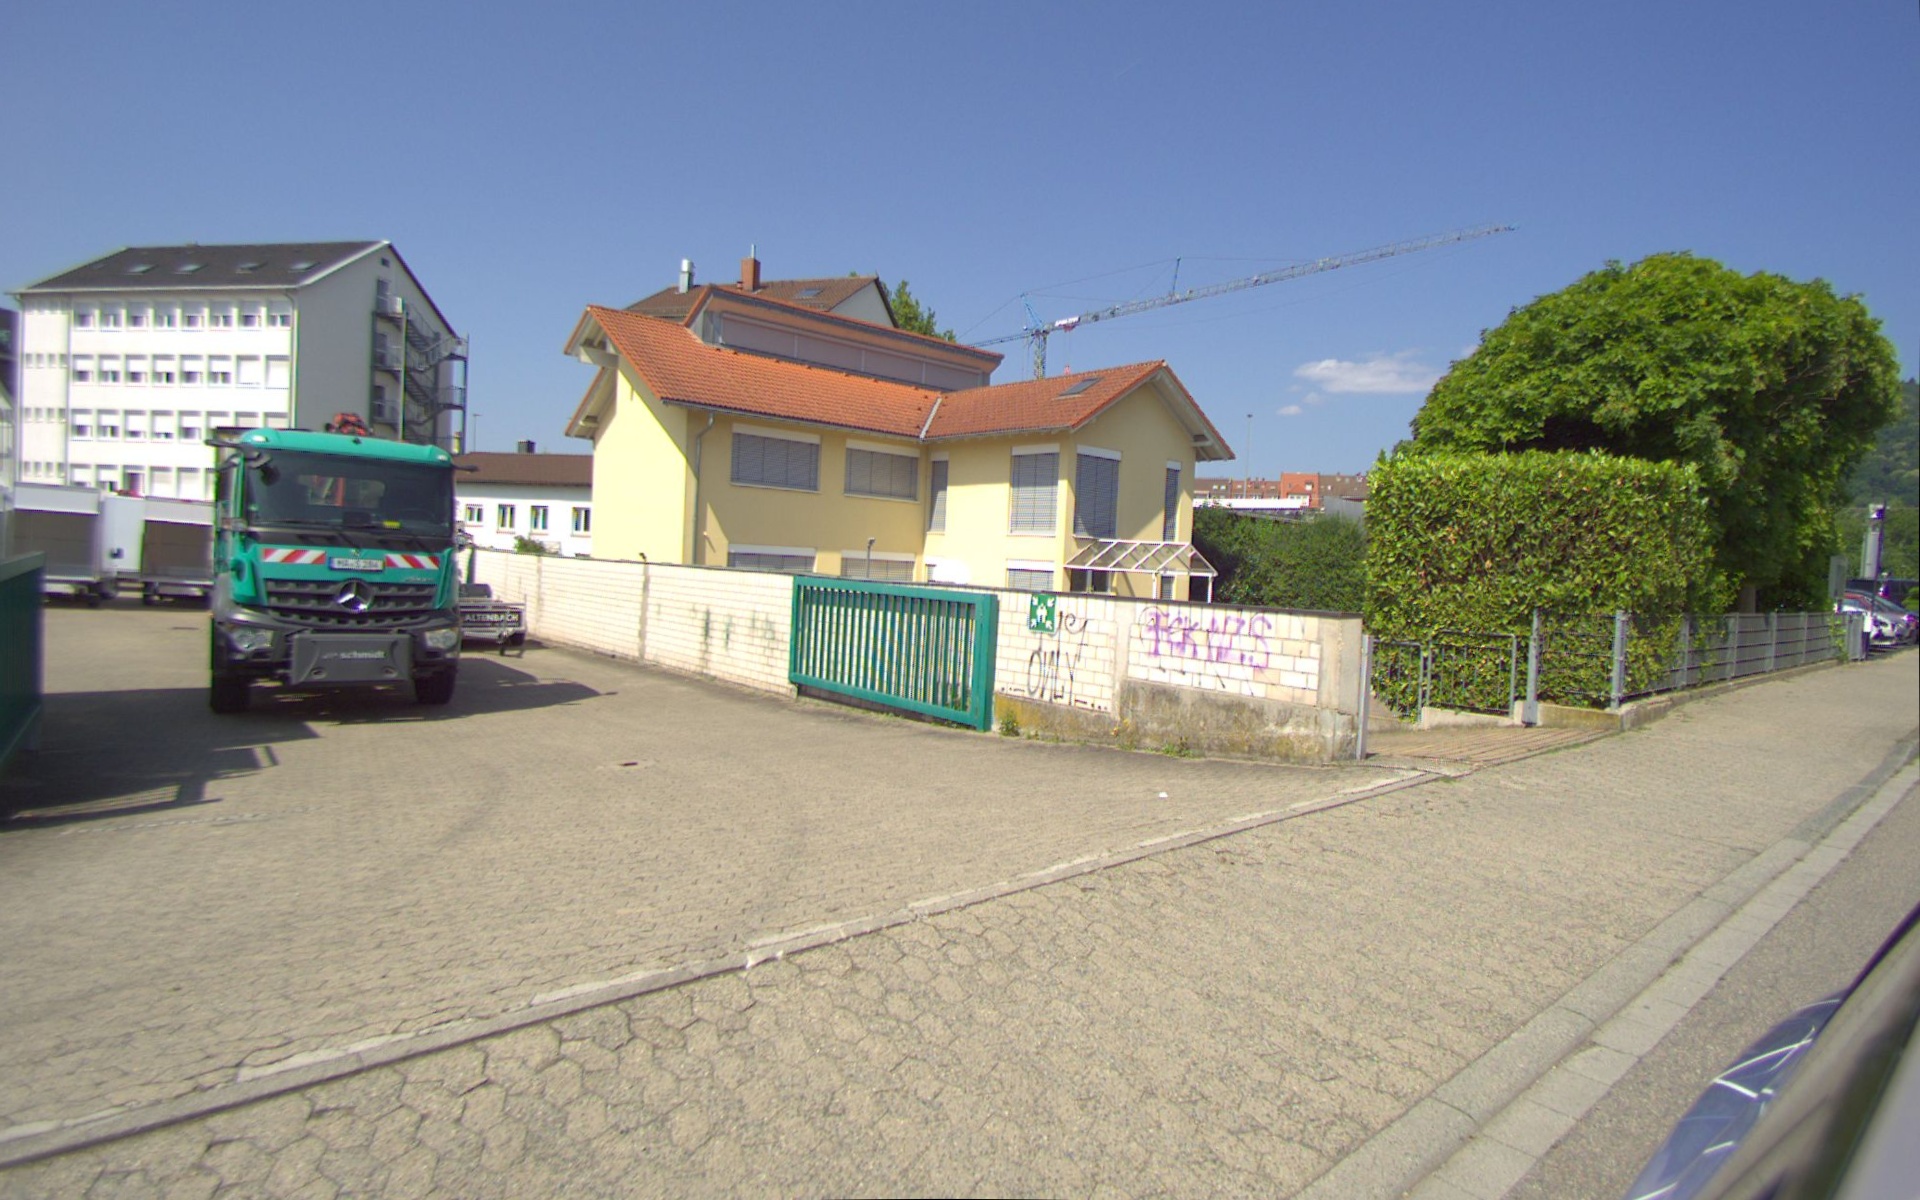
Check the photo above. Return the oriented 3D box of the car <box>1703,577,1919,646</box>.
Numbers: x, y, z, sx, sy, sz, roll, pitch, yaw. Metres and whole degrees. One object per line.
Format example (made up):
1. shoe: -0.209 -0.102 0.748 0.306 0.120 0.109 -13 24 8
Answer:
1. car: 22.785 0.248 27.009 1.864 1.515 4.412 0 3 -41

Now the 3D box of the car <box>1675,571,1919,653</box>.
1. car: 20.821 0.221 25.328 1.865 1.545 4.411 -1 6 -43

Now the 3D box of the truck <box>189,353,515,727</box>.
1. truck: -8.849 -0.776 14.078 2.899 3.655 8.301 1 2 -38

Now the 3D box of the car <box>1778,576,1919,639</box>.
1. car: 27.103 0.203 30.289 1.729 1.644 3.810 1 3 -42

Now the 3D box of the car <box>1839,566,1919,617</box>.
1. car: 36.020 -0.301 38.120 4.205 1.803 1.856 2 3 -5

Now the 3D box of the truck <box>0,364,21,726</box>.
1. truck: -9.387 -0.482 7.981 2.482 3.466 7.532 1 0 -40

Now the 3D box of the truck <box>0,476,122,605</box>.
1. truck: -26.512 -1.570 29.531 2.872 3.406 5.697 1 -1 -37

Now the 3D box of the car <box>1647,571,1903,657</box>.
1. car: 18.980 0.250 23.730 1.812 1.673 4.410 0 3 -43

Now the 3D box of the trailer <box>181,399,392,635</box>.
1. trailer: -14.062 -1.603 21.080 3.009 3.910 8.365 1 3 -35

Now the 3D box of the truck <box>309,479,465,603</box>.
1. truck: -17.499 -1.698 30.962 3.924 3.522 1.864 1 -1 -36

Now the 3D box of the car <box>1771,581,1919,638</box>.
1. car: 25.072 0.244 28.234 1.532 1.351 3.556 1 3 -42

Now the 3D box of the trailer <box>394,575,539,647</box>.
1. trailer: -10.699 0.196 21.825 1.964 1.330 3.700 1 2 -40
